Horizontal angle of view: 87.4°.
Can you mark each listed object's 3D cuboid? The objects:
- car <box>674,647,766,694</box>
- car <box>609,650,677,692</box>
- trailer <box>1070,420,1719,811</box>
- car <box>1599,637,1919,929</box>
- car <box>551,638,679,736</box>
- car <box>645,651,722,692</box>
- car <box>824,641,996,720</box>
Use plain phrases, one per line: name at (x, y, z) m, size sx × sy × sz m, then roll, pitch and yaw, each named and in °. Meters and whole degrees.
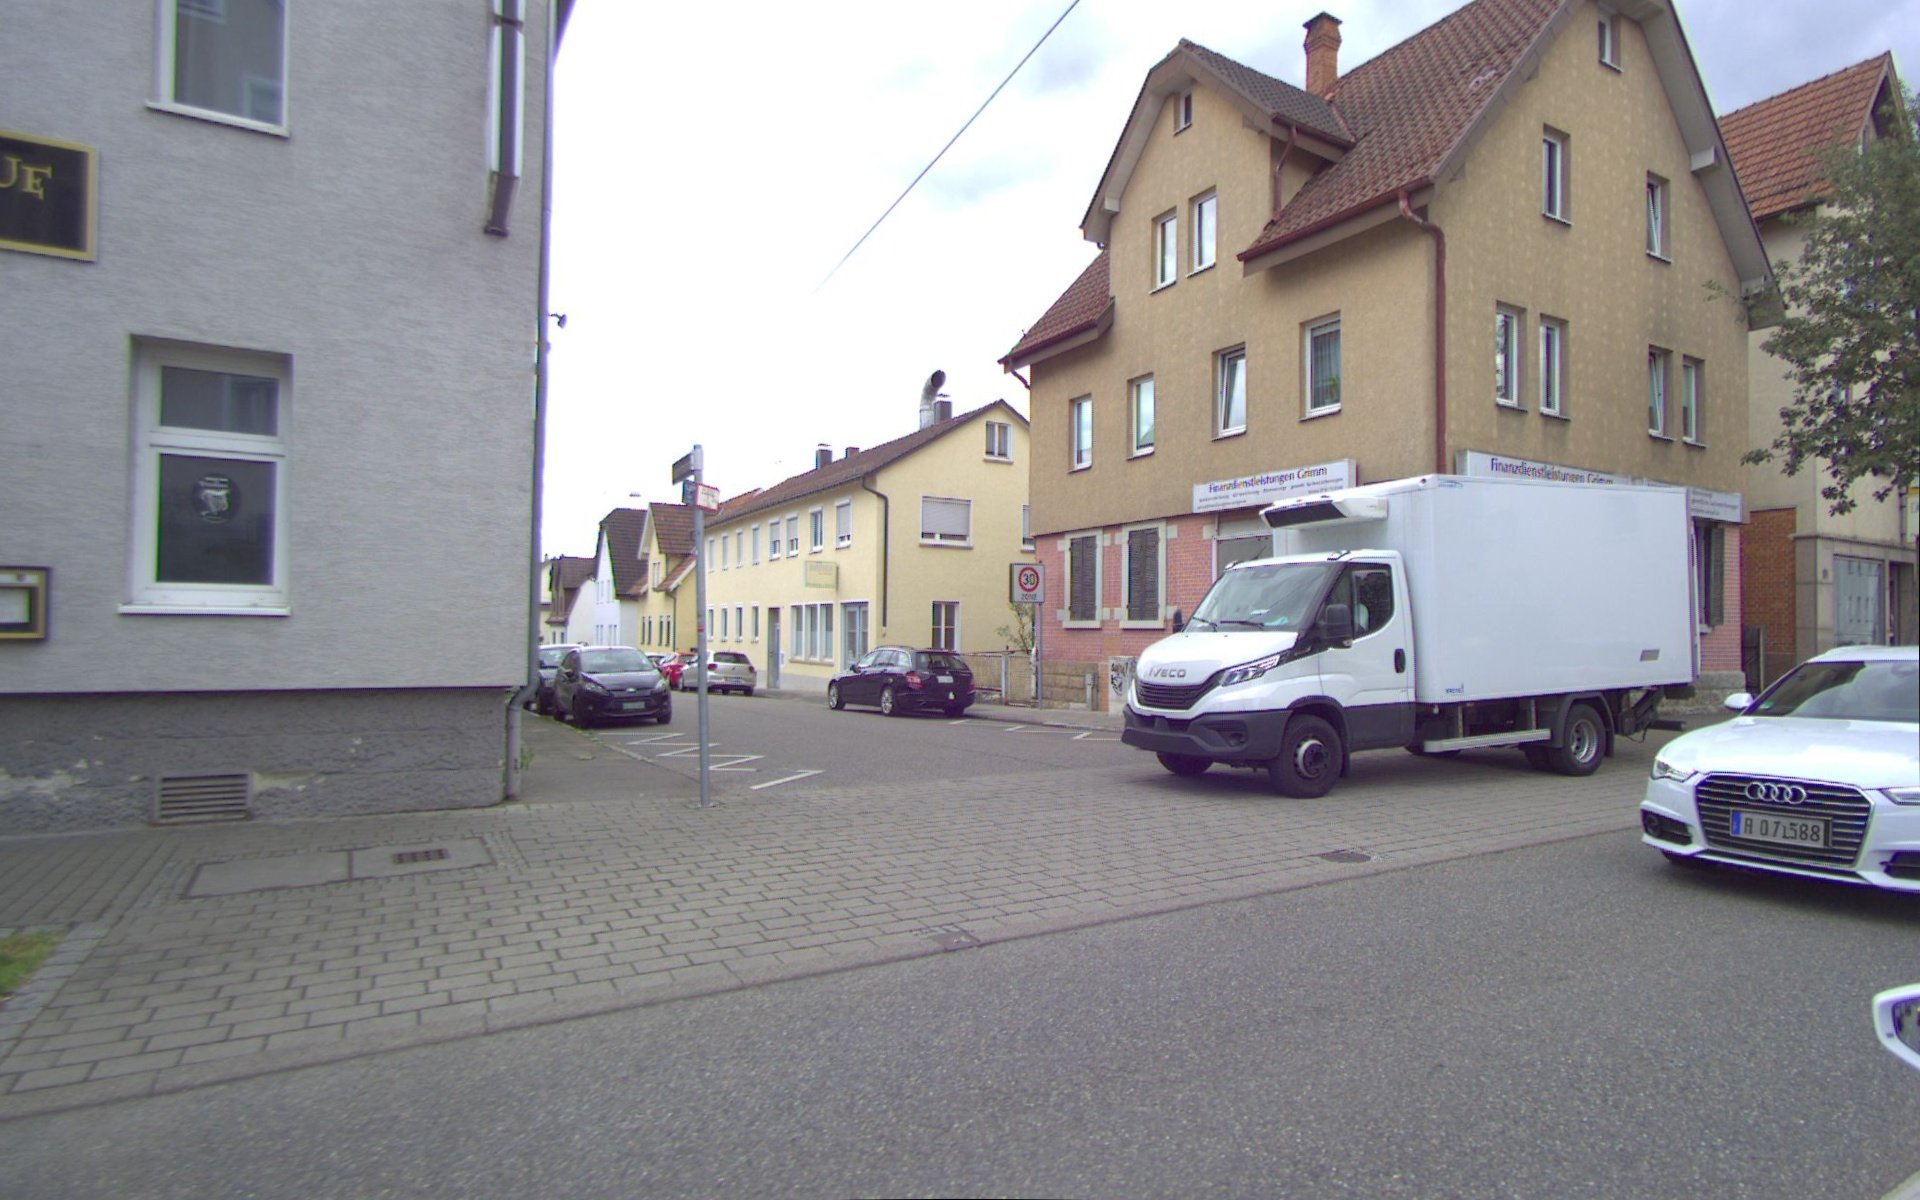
car at (-8.072, 2.383, 33.544) m, size 1.892 × 1.468 × 3.969 m, roll 3°, pitch -5°, yaw -31°
car at (-13.521, 2.975, 42.750) m, size 1.891 × 1.469 × 3.967 m, roll -1°, pitch 0°, yaw -31°
trailer at (4.865, 0.166, 10.994) m, size 7.037 × 3.262 × 2.496 m, roll 1°, pitch 0°, yaw -25°
car at (6.425, 0.990, 6.654) m, size 4.490 × 1.452 × 1.834 m, roll 2°, pitch -3°, yaw -30°
car at (-6.660, 1.554, 19.159) m, size 1.757 × 1.501 × 3.972 m, roll -1°, pitch 0°, yaw -27°
car at (-10.558, 2.702, 38.189) m, size 1.864 × 1.468 × 3.969 m, roll 3°, pitch -5°, yaw -30°
car at (-1.183, 1.732, 21.783) m, size 1.957 × 1.467 × 4.179 m, roll 6°, pitch -6°, yaw -30°
